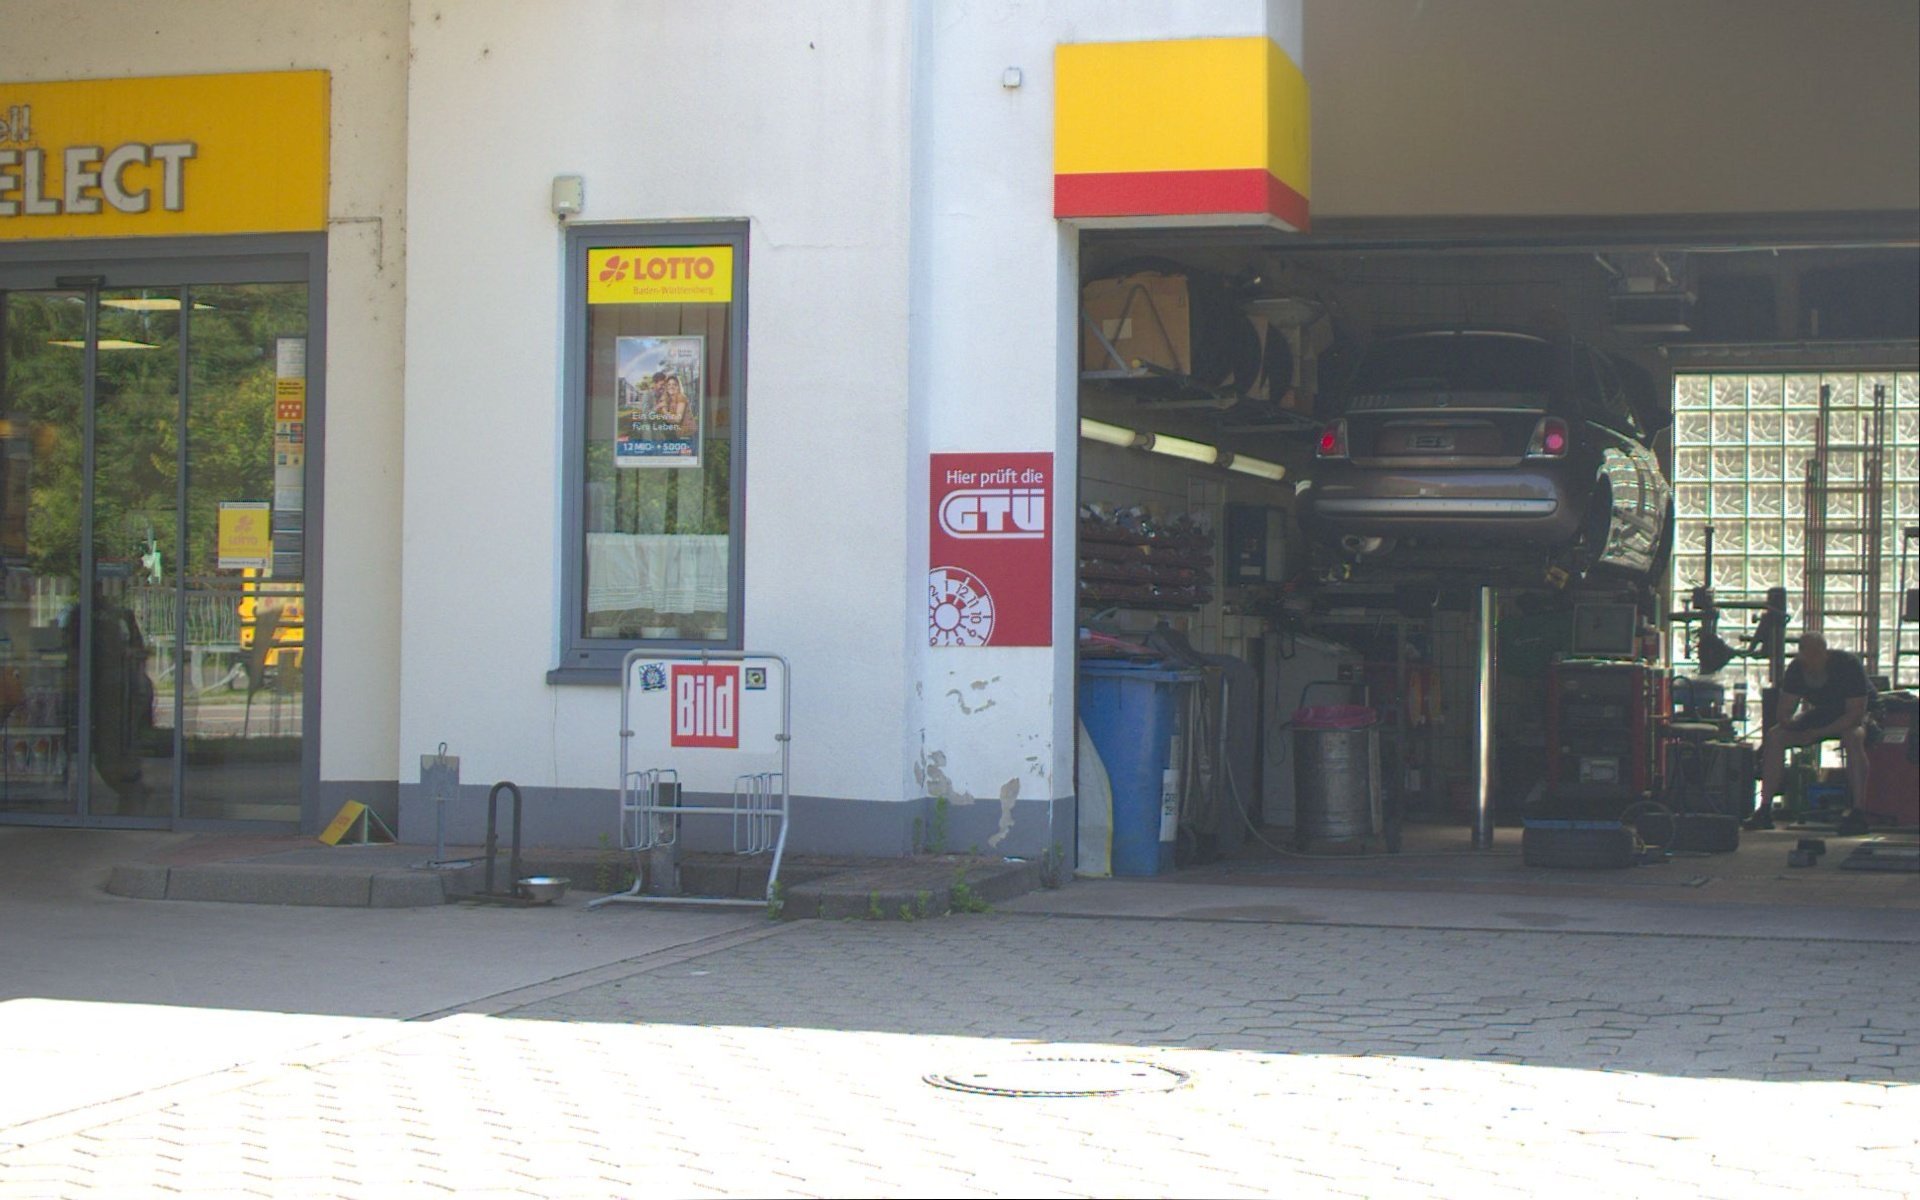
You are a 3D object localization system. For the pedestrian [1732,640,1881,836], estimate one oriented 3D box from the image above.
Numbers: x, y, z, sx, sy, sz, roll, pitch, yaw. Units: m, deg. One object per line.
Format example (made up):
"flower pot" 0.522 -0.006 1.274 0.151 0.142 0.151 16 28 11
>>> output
"pedestrian" 5.301 0.859 21.507 0.864 1.194 0.742 0 -3 17

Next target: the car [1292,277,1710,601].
"car" 3.189 -0.823 19.626 1.648 1.481 3.995 0 -2 19
